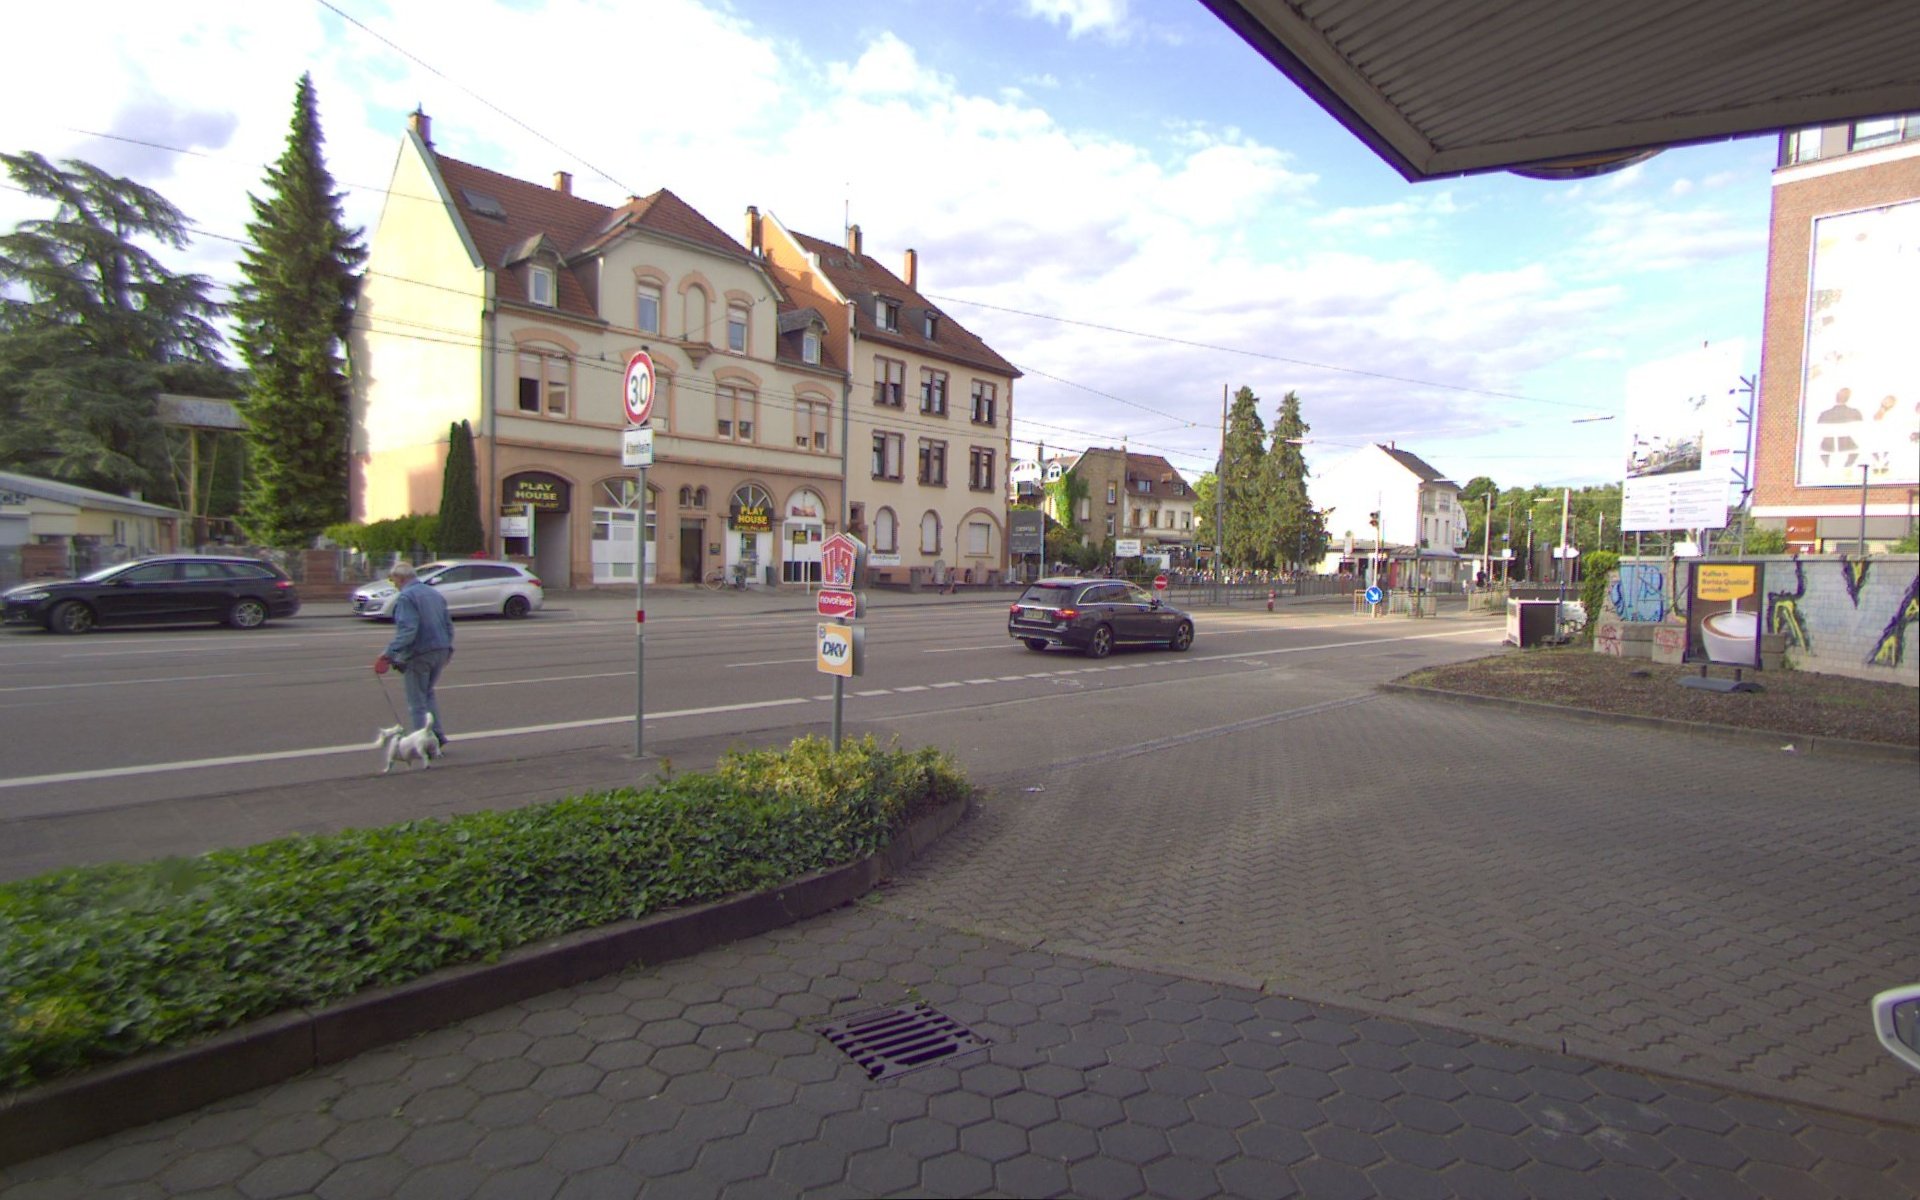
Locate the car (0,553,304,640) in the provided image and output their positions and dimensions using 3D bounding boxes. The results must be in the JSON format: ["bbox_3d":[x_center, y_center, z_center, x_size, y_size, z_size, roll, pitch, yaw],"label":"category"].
[{"bbox_3d":[-16.601,-0.140,20.733,1.983,1.520,4.755,4,4,39],"label":"car"}]

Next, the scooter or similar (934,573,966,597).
[{"bbox_3d":[-0.435,-0.666,45.109,0.461,1.041,1.655,4,3,40],"label":"scooter or similar"}]

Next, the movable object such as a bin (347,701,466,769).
[{"bbox_3d":[-4.357,1.059,7.935,0.666,0.426,0.481,2,4,1],"label":"movable object such as a bin"}]

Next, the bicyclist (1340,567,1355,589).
[{"bbox_3d":[27.880,-1.555,72.221,0.671,1.555,1.079,2,2,42],"label":"bicyclist"}]

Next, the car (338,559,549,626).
[{"bbox_3d":[-12.920,-0.235,25.355,1.699,1.503,4.434,4,4,40],"label":"car"}]

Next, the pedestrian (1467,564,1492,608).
[{"bbox_3d":[24.567,-0.642,47.482,0.798,2.040,0.845,2,0,45],"label":"pedestrian"}]

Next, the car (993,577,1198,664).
[{"bbox_3d":[2.808,0.325,20.057,1.730,1.488,4.543,4,3,43],"label":"car"}]

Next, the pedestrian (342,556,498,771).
[{"bbox_3d":[-4.680,0.491,8.709,0.996,1.691,0.959,-2,5,-42],"label":"pedestrian"}]

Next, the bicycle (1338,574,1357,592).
[{"bbox_3d":[27.874,-1.209,72.229,0.671,1.239,1.909,2,2,42],"label":"bicycle"}]

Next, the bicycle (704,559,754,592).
[{"bbox_3d":[-9.106,-0.957,39.609,0.665,1.229,1.862,4,2,41],"label":"bicycle"}]
